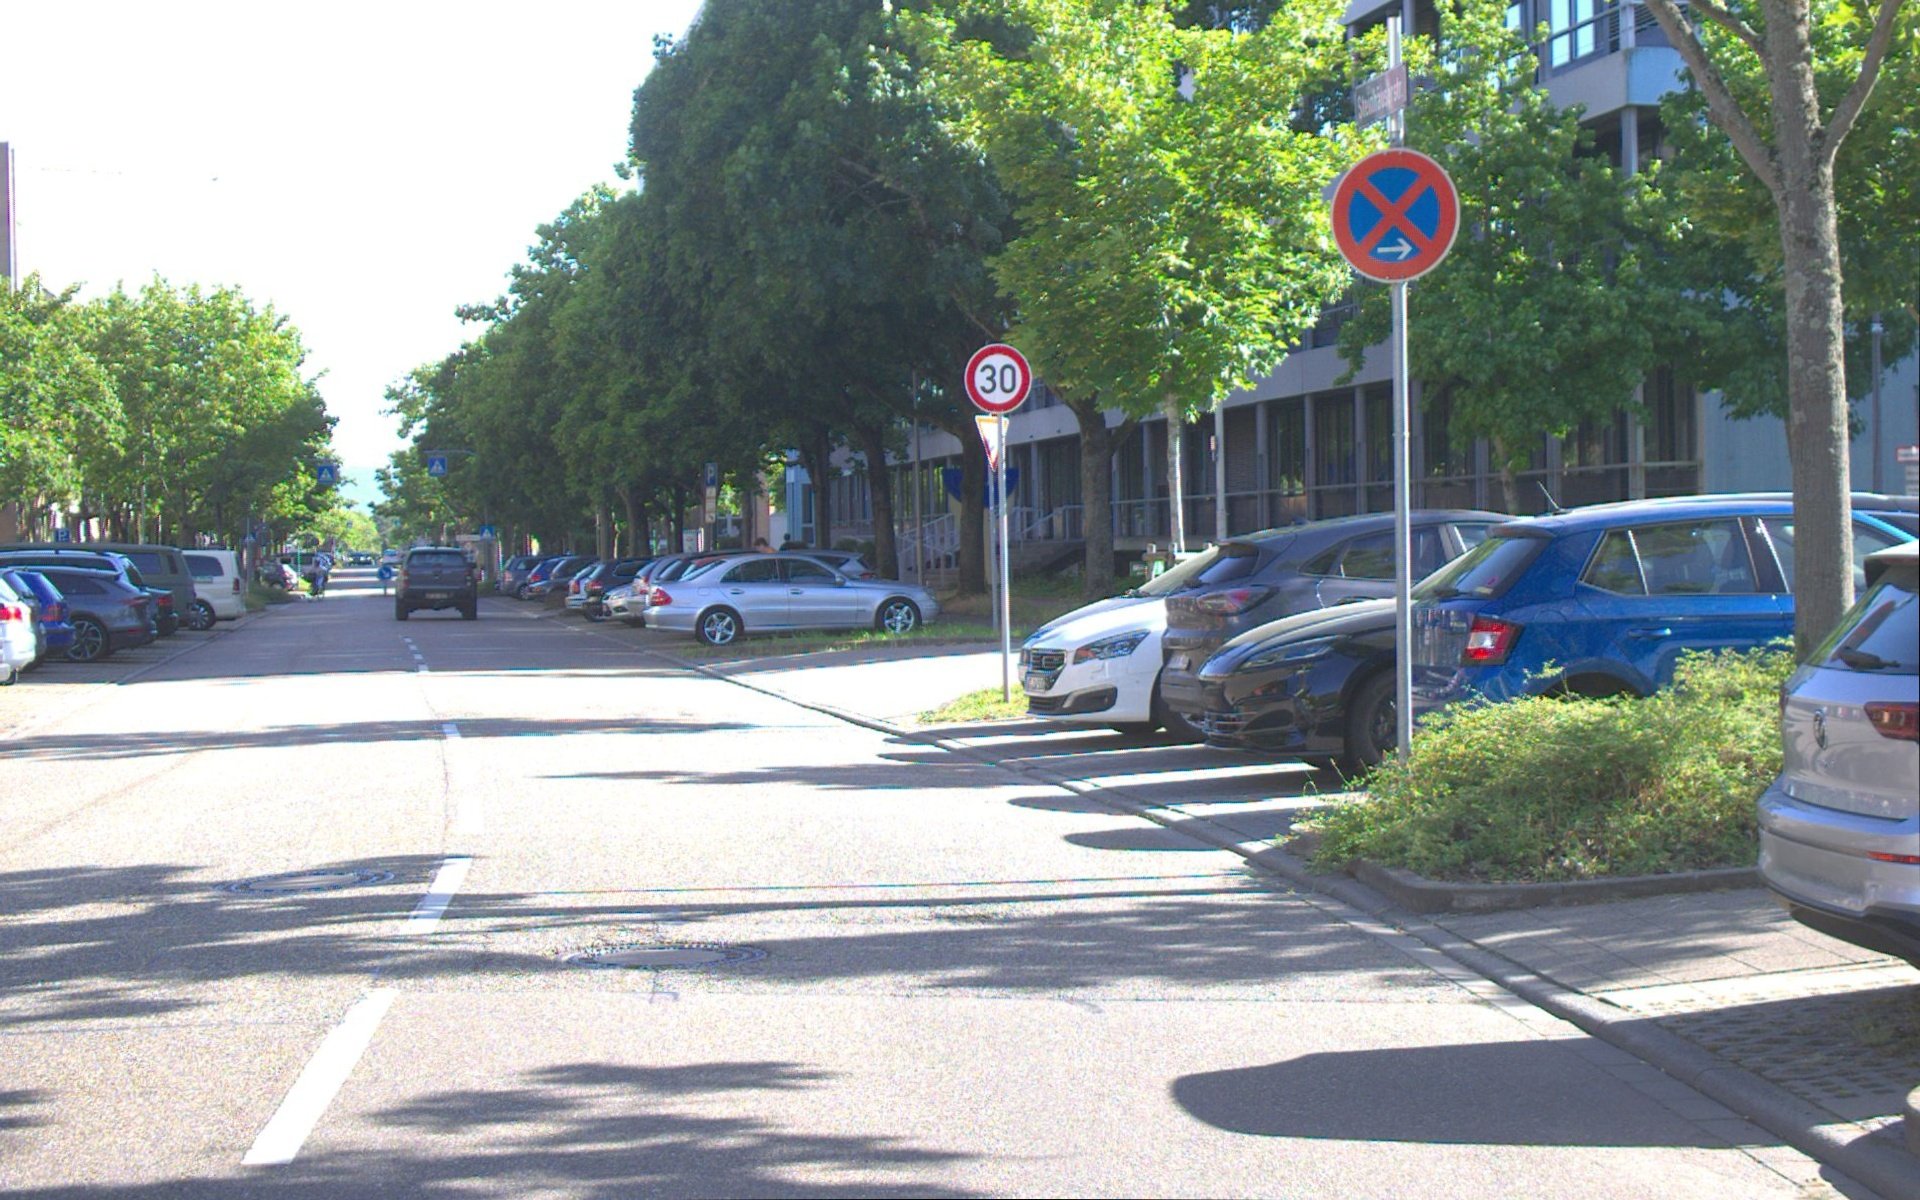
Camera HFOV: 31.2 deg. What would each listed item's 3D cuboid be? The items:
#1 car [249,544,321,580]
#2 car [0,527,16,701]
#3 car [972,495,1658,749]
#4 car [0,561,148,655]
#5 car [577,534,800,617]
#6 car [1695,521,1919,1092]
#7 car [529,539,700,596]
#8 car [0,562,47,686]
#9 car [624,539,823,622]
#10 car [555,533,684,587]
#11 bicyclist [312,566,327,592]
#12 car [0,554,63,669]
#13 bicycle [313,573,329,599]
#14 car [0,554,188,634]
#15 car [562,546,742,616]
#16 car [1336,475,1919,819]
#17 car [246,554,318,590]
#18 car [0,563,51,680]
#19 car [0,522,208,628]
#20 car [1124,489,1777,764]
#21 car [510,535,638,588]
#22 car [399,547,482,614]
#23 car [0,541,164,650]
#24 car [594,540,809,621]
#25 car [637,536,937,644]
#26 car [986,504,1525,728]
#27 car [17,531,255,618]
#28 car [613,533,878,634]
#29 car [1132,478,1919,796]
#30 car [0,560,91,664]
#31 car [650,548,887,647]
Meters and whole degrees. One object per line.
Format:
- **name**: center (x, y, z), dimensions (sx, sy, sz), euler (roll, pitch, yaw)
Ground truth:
- **car**: center (-40.431, -2.290, 205.869), dimensions (3.986, 2.007, 2.000), euler (-2, 1, -5)
- **car**: center (-11.920, 0.125, 35.726), dimensions (3.891, 1.805, 1.786), euler (0, 1, -9)
- **car**: center (2.587, 0.141, 25.400), dimensions (4.548, 1.509, 1.983), euler (-4, 1, -15)
- **car**: center (-14.826, 0.109, 53.073), dimensions (4.401, 1.422, 1.773), euler (0, 1, -11)
- **car**: center (-5.905, -0.541, 74.503), dimensions (4.590, 1.488, 1.763), euler (-4, 1, -9)
- **car**: center (4.357, 0.358, 9.677), dimensions (4.089, 1.424, 1.643), euler (-5, 1, -2)
- **car**: center (-10.244, -0.966, 101.777), dimensions (4.824, 1.415, 2.032), euler (-3, 1, -11)
- **car**: center (-12.795, 0.264, 40.800), dimensions (3.725, 1.442, 1.877), euler (0, 1, -13)
- **car**: center (-4.821, -0.408, 69.919), dimensions (3.742, 1.488, 1.617), euler (-3, 1, -13)
- **car**: center (-10.923, -1.279, 110.152), dimensions (3.948, 1.509, 1.813), euler (-3, 1, -8)
- **bicyclist**: center (-26.435, -0.868, 141.890), dimensions (0.532, 1.087, 0.794), euler (-2, 1, -7)
- **car**: center (-13.913, 0.129, 45.674), dimensions (3.725, 1.503, 1.860), euler (0, 1, -10)
- **bicycle**: center (-26.390, -0.574, 141.902), dimensions (0.532, 1.068, 1.300), euler (-2, 1, -7)
- **car**: center (-16.054, -0.116, 62.784), dimensions (3.725, 1.422, 1.726), euler (0, 1, -15)
- **car**: center (-7.183, -0.454, 80.032), dimensions (3.969, 1.415, 1.711), euler (-3, 1, -11)
- **car**: center (4.051, 0.162, 17.655), dimensions (3.805, 1.443, 1.745), euler (-5, 1, -7)
- **car**: center (-40.002, -1.649, 202.886), dimensions (3.986, 2.007, 2.000), euler (-2, 1, -5)
- **car**: center (-13.357, 0.250, 43.100), dimensions (3.725, 1.442, 1.860), euler (0, 1, -13)
- **car**: center (-17.735, -0.516, 70.130), dimensions (4.487, 2.083, 2.083), euler (0, 1, -7)
- **car**: center (3.214, 0.157, 22.902), dimensions (3.874, 1.509, 1.751), euler (-4, 1, -9)
- **car**: center (-13.937, -1.393, 124.140), dimensions (4.350, 1.698, 1.813), euler (-3, 1, -12)
- **car**: center (-13.238, -0.502, 87.424), dimensions (1.993, 1.634, 4.001), euler (0, 0, -10)
- **car**: center (-15.232, -0.094, 55.621), dimensions (4.320, 1.711, 1.963), euler (0, 1, -4)
- **car**: center (-5.464, -0.420, 72.399), dimensions (4.284, 1.488, 2.004), euler (-3, 1, -10)
- **car**: center (-2.799, -0.173, 55.149), dimensions (4.577, 1.470, 1.747), euler (-3, 1, -9)
- **car**: center (2.381, 0.114, 28.011), dimensions (3.947, 1.509, 1.702), euler (-4, 1, -15)
- **car**: center (-19.140, -0.593, 80.025), dimensions (5.256, 1.960, 1.943), euler (0, 1, -9)
- **car**: center (-3.794, -0.302, 60.374), dimensions (4.514, 1.537, 1.922), euler (-3, 1, -5)
- **car**: center (3.510, 0.178, 20.364), dimensions (4.548, 1.509, 2.159), euler (-4, 1, -9)
- **car**: center (-14.110, 0.149, 47.950), dimensions (3.725, 1.422, 1.841), euler (0, 1, -10)
- **car**: center (-3.256, -0.059, 57.962), dimensions (3.837, 1.442, 1.922), euler (-3, 1, -6)
